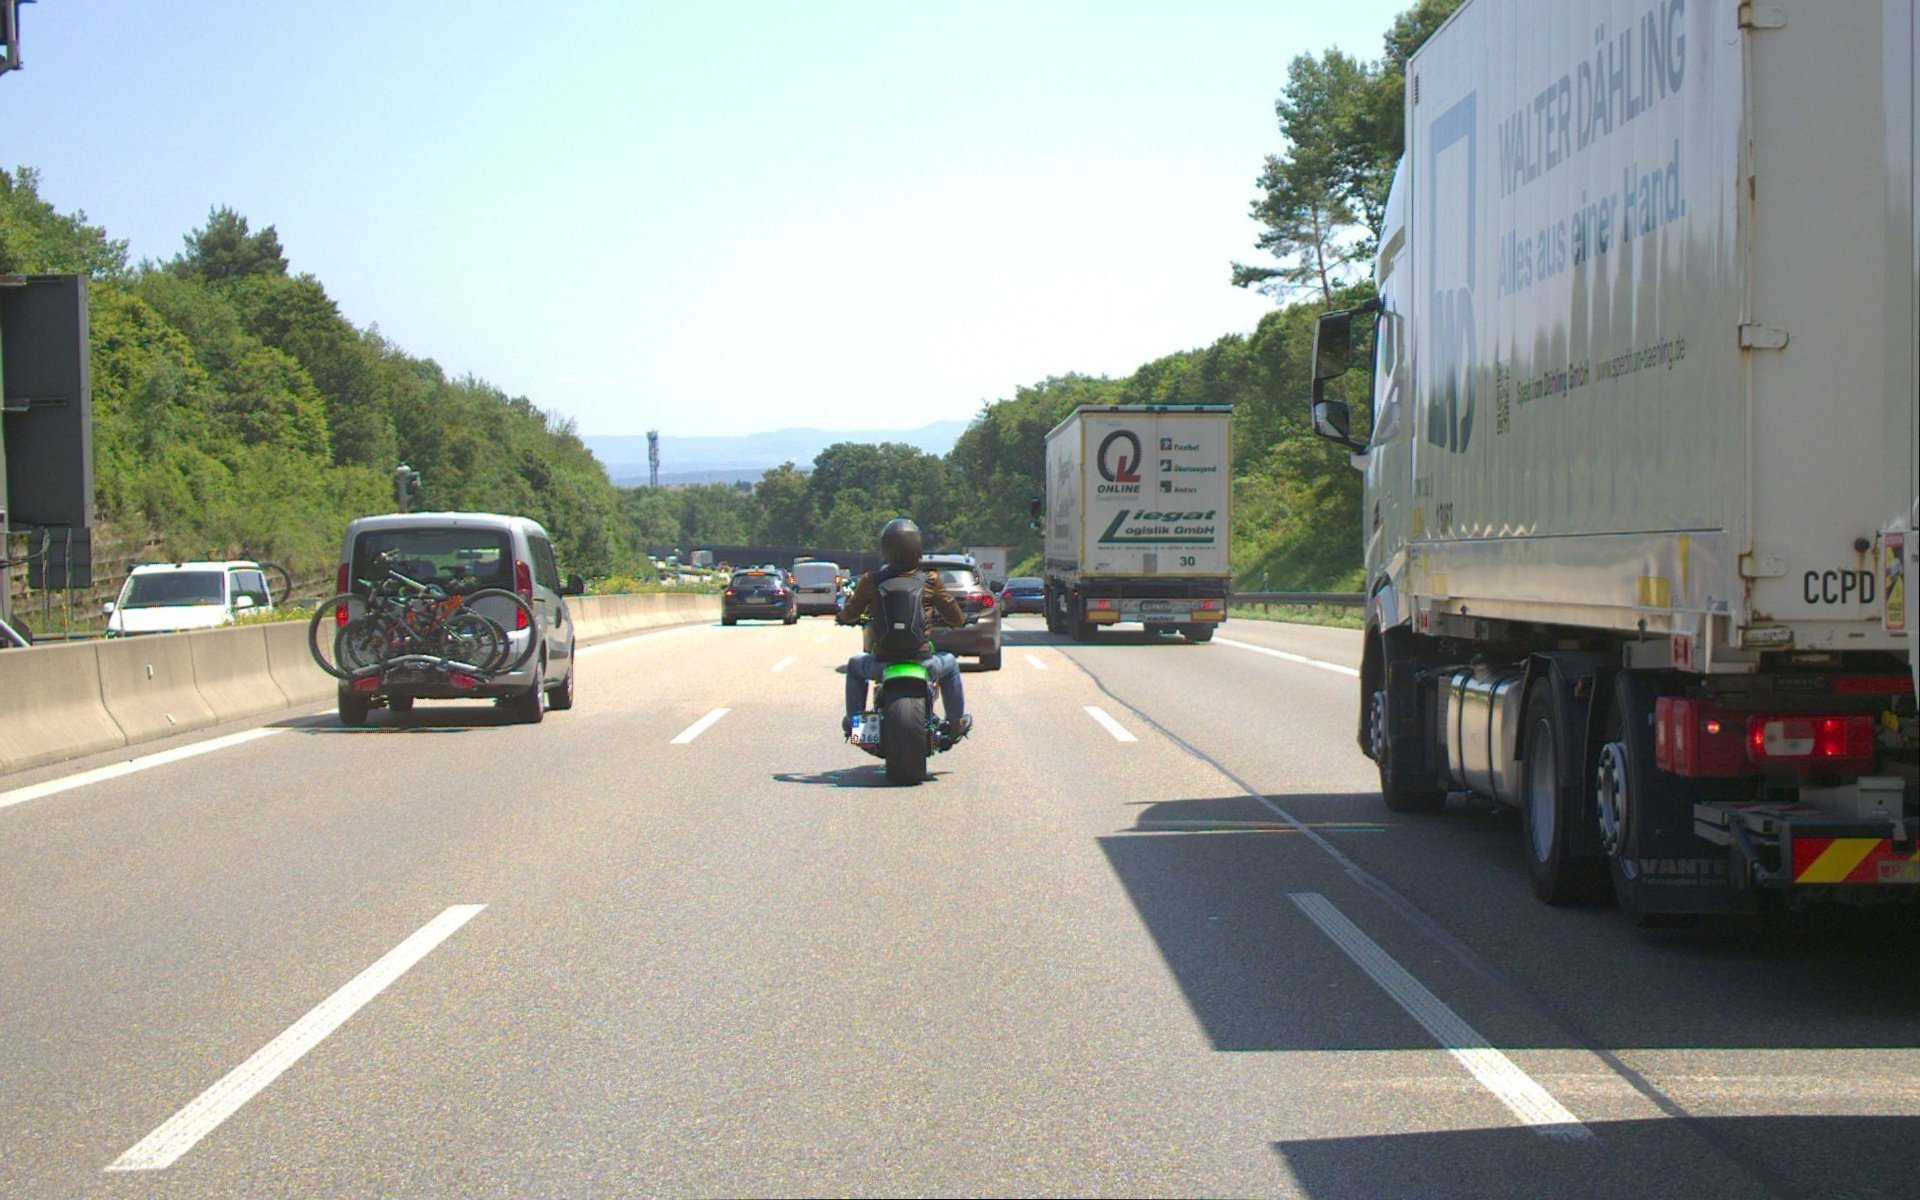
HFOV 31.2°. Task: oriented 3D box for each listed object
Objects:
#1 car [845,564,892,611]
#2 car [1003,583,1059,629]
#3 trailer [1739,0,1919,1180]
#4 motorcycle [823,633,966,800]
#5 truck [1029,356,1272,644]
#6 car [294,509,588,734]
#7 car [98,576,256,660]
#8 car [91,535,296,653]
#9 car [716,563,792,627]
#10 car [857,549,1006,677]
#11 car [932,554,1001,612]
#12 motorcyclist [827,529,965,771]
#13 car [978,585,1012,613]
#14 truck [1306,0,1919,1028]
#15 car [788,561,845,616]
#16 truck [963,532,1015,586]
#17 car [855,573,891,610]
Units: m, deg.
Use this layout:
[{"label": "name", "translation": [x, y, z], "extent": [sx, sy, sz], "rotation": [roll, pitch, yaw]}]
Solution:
[{"label": "car", "translation": [-3.641, -0.525, 137.346], "extent": [1.831, 1.804, 4.120], "rotation": [0, 1, -1]}, {"label": "car", "translation": [2.469, 0.206, 120.393], "extent": [1.831, 1.521, 4.027], "rotation": [0, 1, -1]}, {"label": "trailer", "translation": [3.742, -0.610, 5.188], "extent": [2.680, 4.161, 10.066], "rotation": [0, 1, -1]}, {"label": "motorcycle", "translation": [-0.395, 0.716, 21.961], "extent": [0.862, 0.978, 2.131], "rotation": [0, 0, 0]}, {"label": "truck", "translation": [3.339, -1.800, 65.846], "extent": [3.383, 4.702, 17.709], "rotation": [1, 1, -1]}, {"label": "car", "translation": [-4.564, 0.161, 31.018], "extent": [1.898, 1.841, 5.483], "rotation": [0, 0, -1]}, {"label": "car", "translation": [-15.739, 0.326, 69.440], "extent": [1.961, 1.490, 5.888], "rotation": [-2, 1, -2]}, {"label": "car", "translation": [-11.949, -0.147, 54.000], "extent": [1.997, 1.681, 5.996], "rotation": [-2, 1, -2]}, {"label": "car", "translation": [-5.283, -0.153, 88.697], "extent": [1.758, 1.538, 4.395], "rotation": [0, 1, -1]}, {"label": "car", "translation": [-0.387, 0.131, 44.811], "extent": [1.845, 1.552, 4.440], "rotation": [0, 1, -1]}, {"label": "car", "translation": [0.162, -0.488, 95.124], "extent": [1.831, 1.553, 4.120], "rotation": [0, 1, -1]}, {"label": "motorcyclist", "translation": [-0.397, 0.310, 21.952], "extent": [0.856, 1.510, 0.914], "rotation": [0, 0, 0]}, {"label": "car", "translation": [1.968, -0.076, 195.810], "extent": [1.831, 1.521, 4.027], "rotation": [0, 1, -1]}, {"label": "truck", "translation": [3.547, -0.816, 15.642], "extent": [2.680, 4.045, 10.626], "rotation": [0, 1, -1]}, {"label": "car", "translation": [-4.856, -0.402, 116.864], "extent": [1.831, 1.804, 4.120], "rotation": [0, 1, -1]}, {"label": "truck", "translation": [1.819, -2.646, 219.747], "extent": [3.067, 3.335, 9.652], "rotation": [1, 1, -1]}, {"label": "car", "translation": [-4.492, -0.464, 177.965], "extent": [1.831, 1.804, 4.120], "rotation": [0, 1, -1]}]
